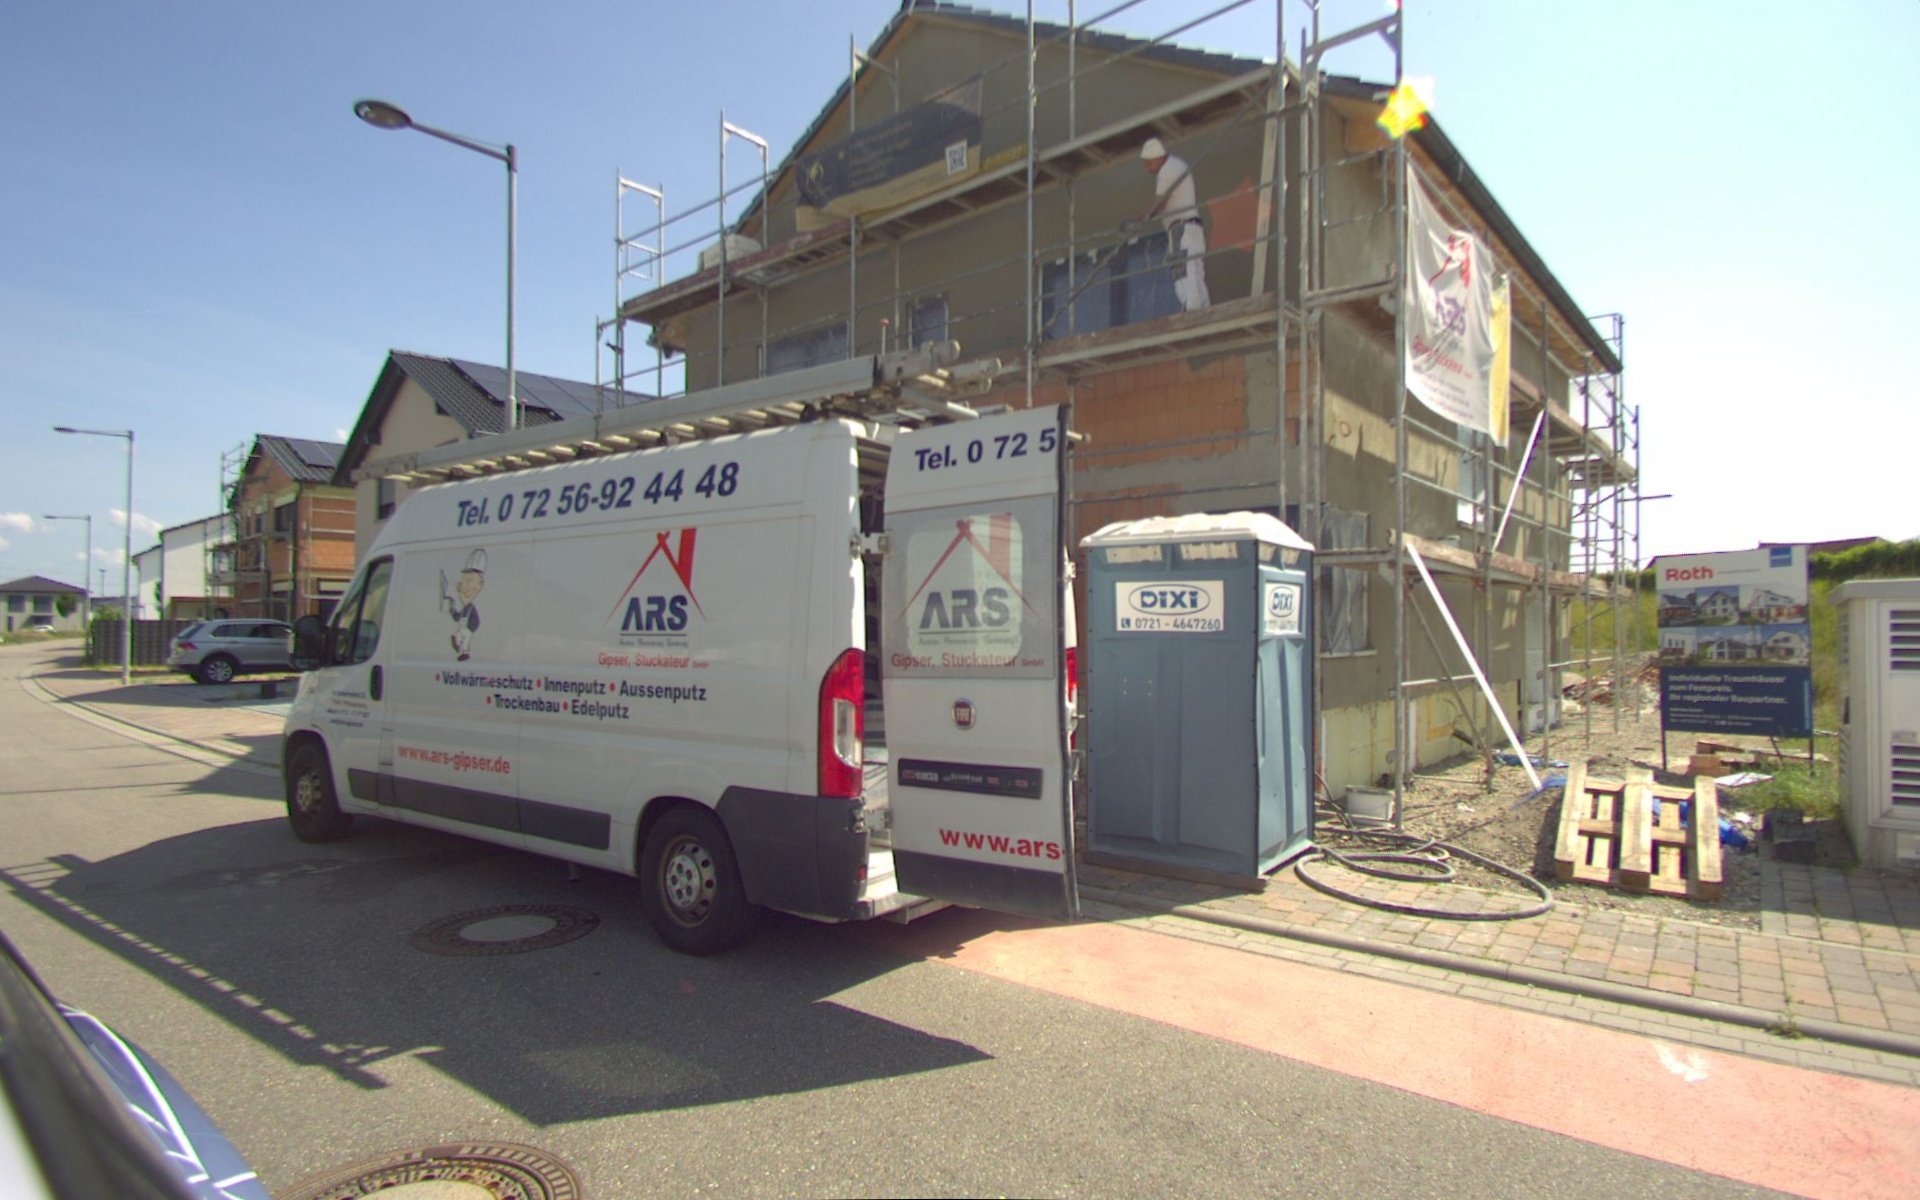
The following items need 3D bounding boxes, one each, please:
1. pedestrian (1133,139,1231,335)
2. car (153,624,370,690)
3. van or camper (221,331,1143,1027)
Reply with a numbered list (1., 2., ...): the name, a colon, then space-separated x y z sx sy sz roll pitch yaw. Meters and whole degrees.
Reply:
1. pedestrian: 1.933 -3.160 8.880 0.739 1.511 0.562 1 -1 5
2. car: -18.484 1.488 26.928 1.999 1.624 4.377 -2 -3 42
3. van or camper: -2.207 0.351 6.536 6.354 2.573 2.252 -1 -2 36
